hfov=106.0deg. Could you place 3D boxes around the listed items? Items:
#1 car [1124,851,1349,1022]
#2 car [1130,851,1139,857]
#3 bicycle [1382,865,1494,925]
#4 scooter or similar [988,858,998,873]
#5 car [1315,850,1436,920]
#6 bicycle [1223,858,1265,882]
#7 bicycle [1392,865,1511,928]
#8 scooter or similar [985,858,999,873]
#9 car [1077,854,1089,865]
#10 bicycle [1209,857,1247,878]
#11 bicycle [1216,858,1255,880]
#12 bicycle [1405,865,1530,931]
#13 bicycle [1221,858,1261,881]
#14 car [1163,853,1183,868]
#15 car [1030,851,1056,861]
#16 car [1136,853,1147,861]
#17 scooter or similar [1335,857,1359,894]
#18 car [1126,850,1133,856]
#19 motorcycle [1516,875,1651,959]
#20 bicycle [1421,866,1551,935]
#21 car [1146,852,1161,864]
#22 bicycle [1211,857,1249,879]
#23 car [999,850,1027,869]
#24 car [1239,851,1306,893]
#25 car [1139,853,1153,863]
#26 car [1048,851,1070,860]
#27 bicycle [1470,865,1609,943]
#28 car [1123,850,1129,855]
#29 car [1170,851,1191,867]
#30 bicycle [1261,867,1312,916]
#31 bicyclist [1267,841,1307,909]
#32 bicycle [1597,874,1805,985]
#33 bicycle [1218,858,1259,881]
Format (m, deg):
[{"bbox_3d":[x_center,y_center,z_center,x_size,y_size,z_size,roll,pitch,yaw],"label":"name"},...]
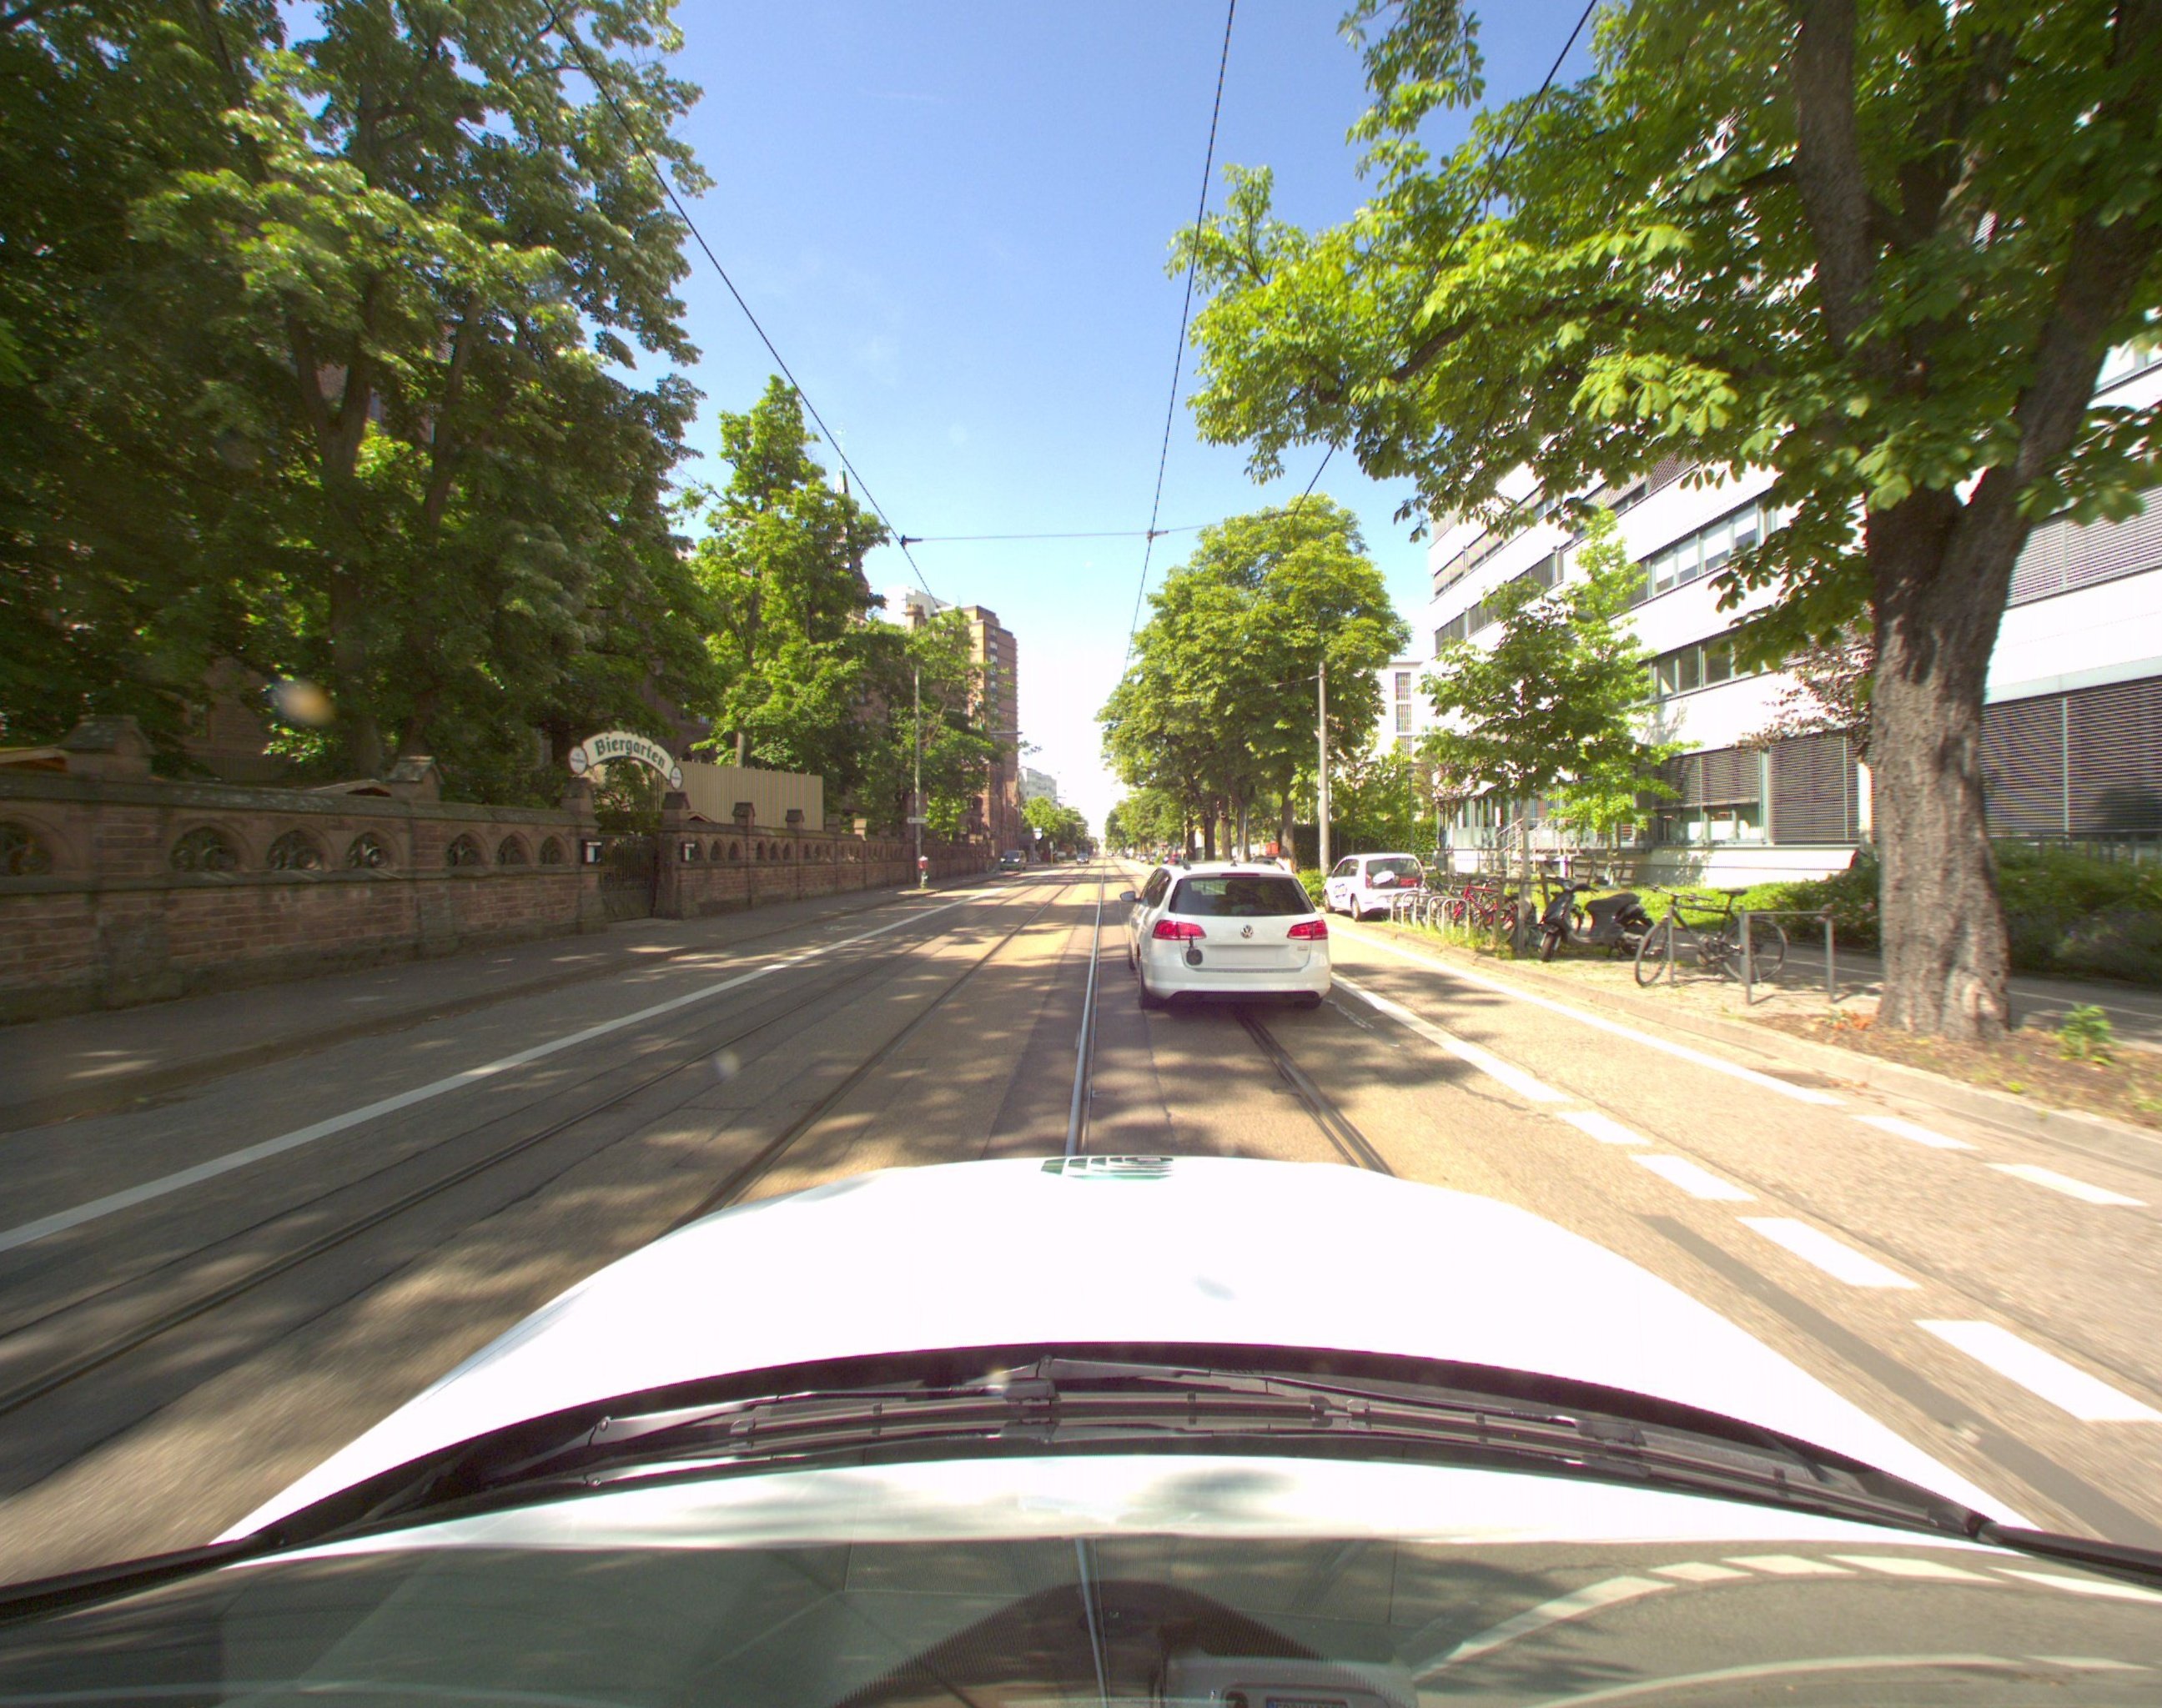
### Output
[{"bbox_3d":[1.439,0.716,9.148,1.748,1.442,4.413,0,0,1],"label":"car"},{"bbox_3d":[11.581,0.005,176.452,1.706,1.401,3.845,-1,0,3],"label":"car"},{"bbox_3d":[6.785,0.778,15.516,1.880,1.083,0.550,1,0,-1],"label":"bicycle"},{"bbox_3d":[-7.175,0.904,66.410,0.419,1.200,1.148,-1,0,17],"label":"scooter or similar"},{"bbox_3d":[6.846,0.654,19.340,1.584,1.451,3.948,-1,0,2],"label":"car"},{"bbox_3d":[7.429,0.726,37.180,1.783,1.010,0.487,-1,0,-4],"label":"bicycle"},{"bbox_3d":[6.749,0.765,14.875,1.906,1.083,0.550,2,0,-1],"label":"bicycle"},{"bbox_3d":[-6.927,0.897,63.130,0.400,1.155,1.150,-1,0,36],"label":"scooter or similar"},{"bbox_3d":[0.247,0.682,110.051,1.487,1.384,3.645,-1,0,3],"label":"car"},{"bbox_3d":[7.342,0.688,40.718,1.783,1.010,0.487,-1,0,-4],"label":"bicycle"},{"bbox_3d":[7.382,0.707,38.925,1.783,1.010,0.487,-1,0,-4],"label":"bicycle"},{"bbox_3d":[6.752,0.761,14.262,1.906,1.083,0.550,2,0,-1],"label":"bicycle"},{"bbox_3d":[7.416,0.720,37.763,1.783,1.010,0.487,-1,0,-4],"label":"bicycle"},{"bbox_3d":[9.097,0.647,80.643,1.706,1.401,3.847,-1,0,4],"label":"car"},{"bbox_3d":[-6.494,0.308,138.470,4.131,1.530,1.920,1,0,-20],"label":"car"},{"bbox_3d":[10.772,0.561,145.458,1.706,1.401,3.845,-1,0,3],"label":"car"},{"bbox_3d":[8.242,0.652,25.279,0.378,1.128,1.091,-1,0,0],"label":"scooter or similar"},{"bbox_3d":[12.269,-0.223,206.828,1.706,1.401,3.845,-1,0,3],"label":"car"},{"bbox_3d":[6.660,0.823,10.818,1.461,1.046,0.534,-1,0,-1],"label":"motorcycle"},{"bbox_3d":[6.774,0.768,13.662,1.906,1.083,0.550,1,0,-1],"label":"bicycle"},{"bbox_3d":[9.116,0.486,102.087,1.706,1.401,3.845,-1,0,3],"label":"car"},{"bbox_3d":[7.364,0.694,40.198,1.783,1.010,0.487,-1,0,-4],"label":"bicycle"},{"bbox_3d":[-6.624,0.511,79.500,1.984,1.757,4.717,-1,0,4],"label":"car"},{"bbox_3d":[7.283,0.631,31.448,1.658,1.444,4.636,-1,0,2],"label":"car"},{"bbox_3d":[9.573,0.612,120.062,1.707,1.401,3.844,-1,0,1],"label":"car"},{"bbox_3d":[-4.643,0.230,171.724,4.016,1.816,1.979,-1,0,-34],"label":"car"},{"bbox_3d":[6.963,0.747,12.409,1.769,1.120,0.596,-1,0,-1],"label":"bicycle"},{"bbox_3d":[13.197,-0.543,240.556,1.706,1.401,3.845,-1,0,3],"label":"car"},{"bbox_3d":[8.642,0.402,70.672,1.705,1.280,3.849,-1,0,6],"label":"car"},{"bbox_3d":[4.971,0.882,19.854,0.808,1.078,2.013,0,0,2],"label":"bicycle"},{"bbox_3d":[5.039,0.501,19.929,0.783,1.629,0.738,-1,0,2],"label":"bicyclist"},{"bbox_3d":[6.563,0.785,8.667,1.769,1.083,0.596,-1,0,-1],"label":"bicycle"},{"bbox_3d":[7.409,0.714,38.340,1.783,1.010,0.487,-1,0,-4],"label":"bicycle"}]
